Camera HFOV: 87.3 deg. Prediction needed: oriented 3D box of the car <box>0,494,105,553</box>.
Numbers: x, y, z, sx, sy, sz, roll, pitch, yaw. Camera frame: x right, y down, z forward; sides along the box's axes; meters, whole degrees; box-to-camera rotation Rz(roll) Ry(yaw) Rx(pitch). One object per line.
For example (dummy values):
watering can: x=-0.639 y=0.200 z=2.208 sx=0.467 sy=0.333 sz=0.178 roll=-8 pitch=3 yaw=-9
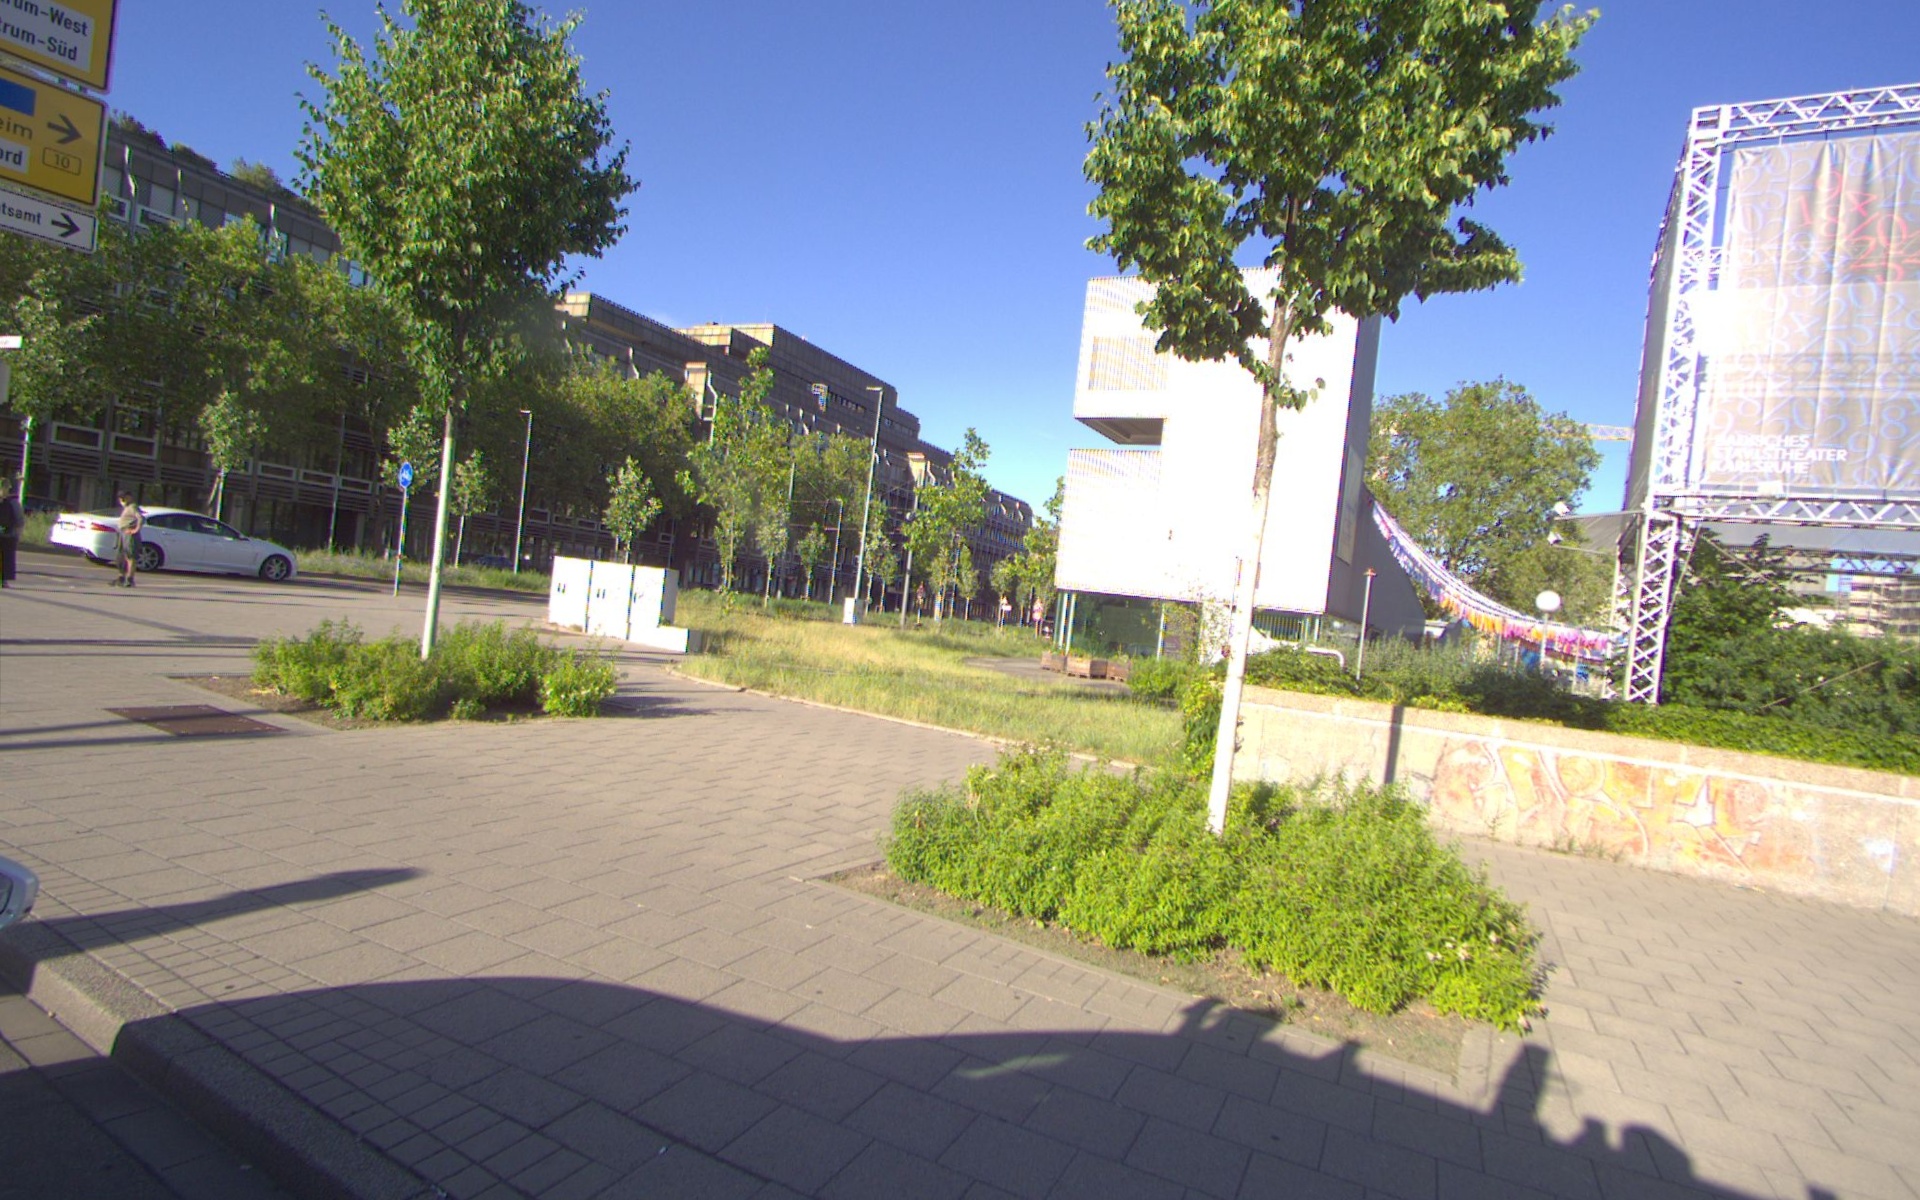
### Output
car: x=-33.264 y=-2.790 z=35.461 sx=1.792 sy=1.704 sz=4.302 roll=7 pitch=-1 yaw=21

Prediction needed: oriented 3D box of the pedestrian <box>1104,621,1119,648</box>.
pedestrian: x=9.198 y=2.115 z=61.244 sx=0.520 sy=1.571 sz=0.638 roll=7 pitch=-1 yaw=31

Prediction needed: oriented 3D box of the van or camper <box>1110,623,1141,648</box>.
van or camper: x=16.036 y=3.463 z=97.244 sx=1.969 sy=2.038 sz=4.844 roll=7 pitch=-1 yaw=19

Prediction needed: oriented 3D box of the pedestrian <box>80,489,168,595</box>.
pedestrian: x=-14.900 y=-1.026 z=17.931 sx=0.755 sy=1.728 sz=0.873 roll=7 pitch=1 yaw=30

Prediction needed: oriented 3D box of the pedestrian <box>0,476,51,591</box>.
pedestrian: x=-14.257 y=-1.010 z=14.952 sx=0.859 sy=1.634 sz=0.767 roll=7 pitch=1 yaw=30

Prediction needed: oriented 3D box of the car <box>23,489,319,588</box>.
car: x=-18.271 y=-1.357 z=23.678 sx=1.963 sy=1.583 sz=5.099 roll=7 pitch=-1 yaw=21

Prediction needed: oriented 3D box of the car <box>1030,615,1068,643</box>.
car: x=7.318 y=2.390 z=82.142 sx=1.851 sy=1.886 sz=4.833 roll=7 pitch=-1 yaw=18

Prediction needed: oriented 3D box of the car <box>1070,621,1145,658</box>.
car: x=9.990 y=2.657 z=67.716 sx=5.284 sy=1.845 sz=1.827 roll=9 pitch=-2 yaw=-40
